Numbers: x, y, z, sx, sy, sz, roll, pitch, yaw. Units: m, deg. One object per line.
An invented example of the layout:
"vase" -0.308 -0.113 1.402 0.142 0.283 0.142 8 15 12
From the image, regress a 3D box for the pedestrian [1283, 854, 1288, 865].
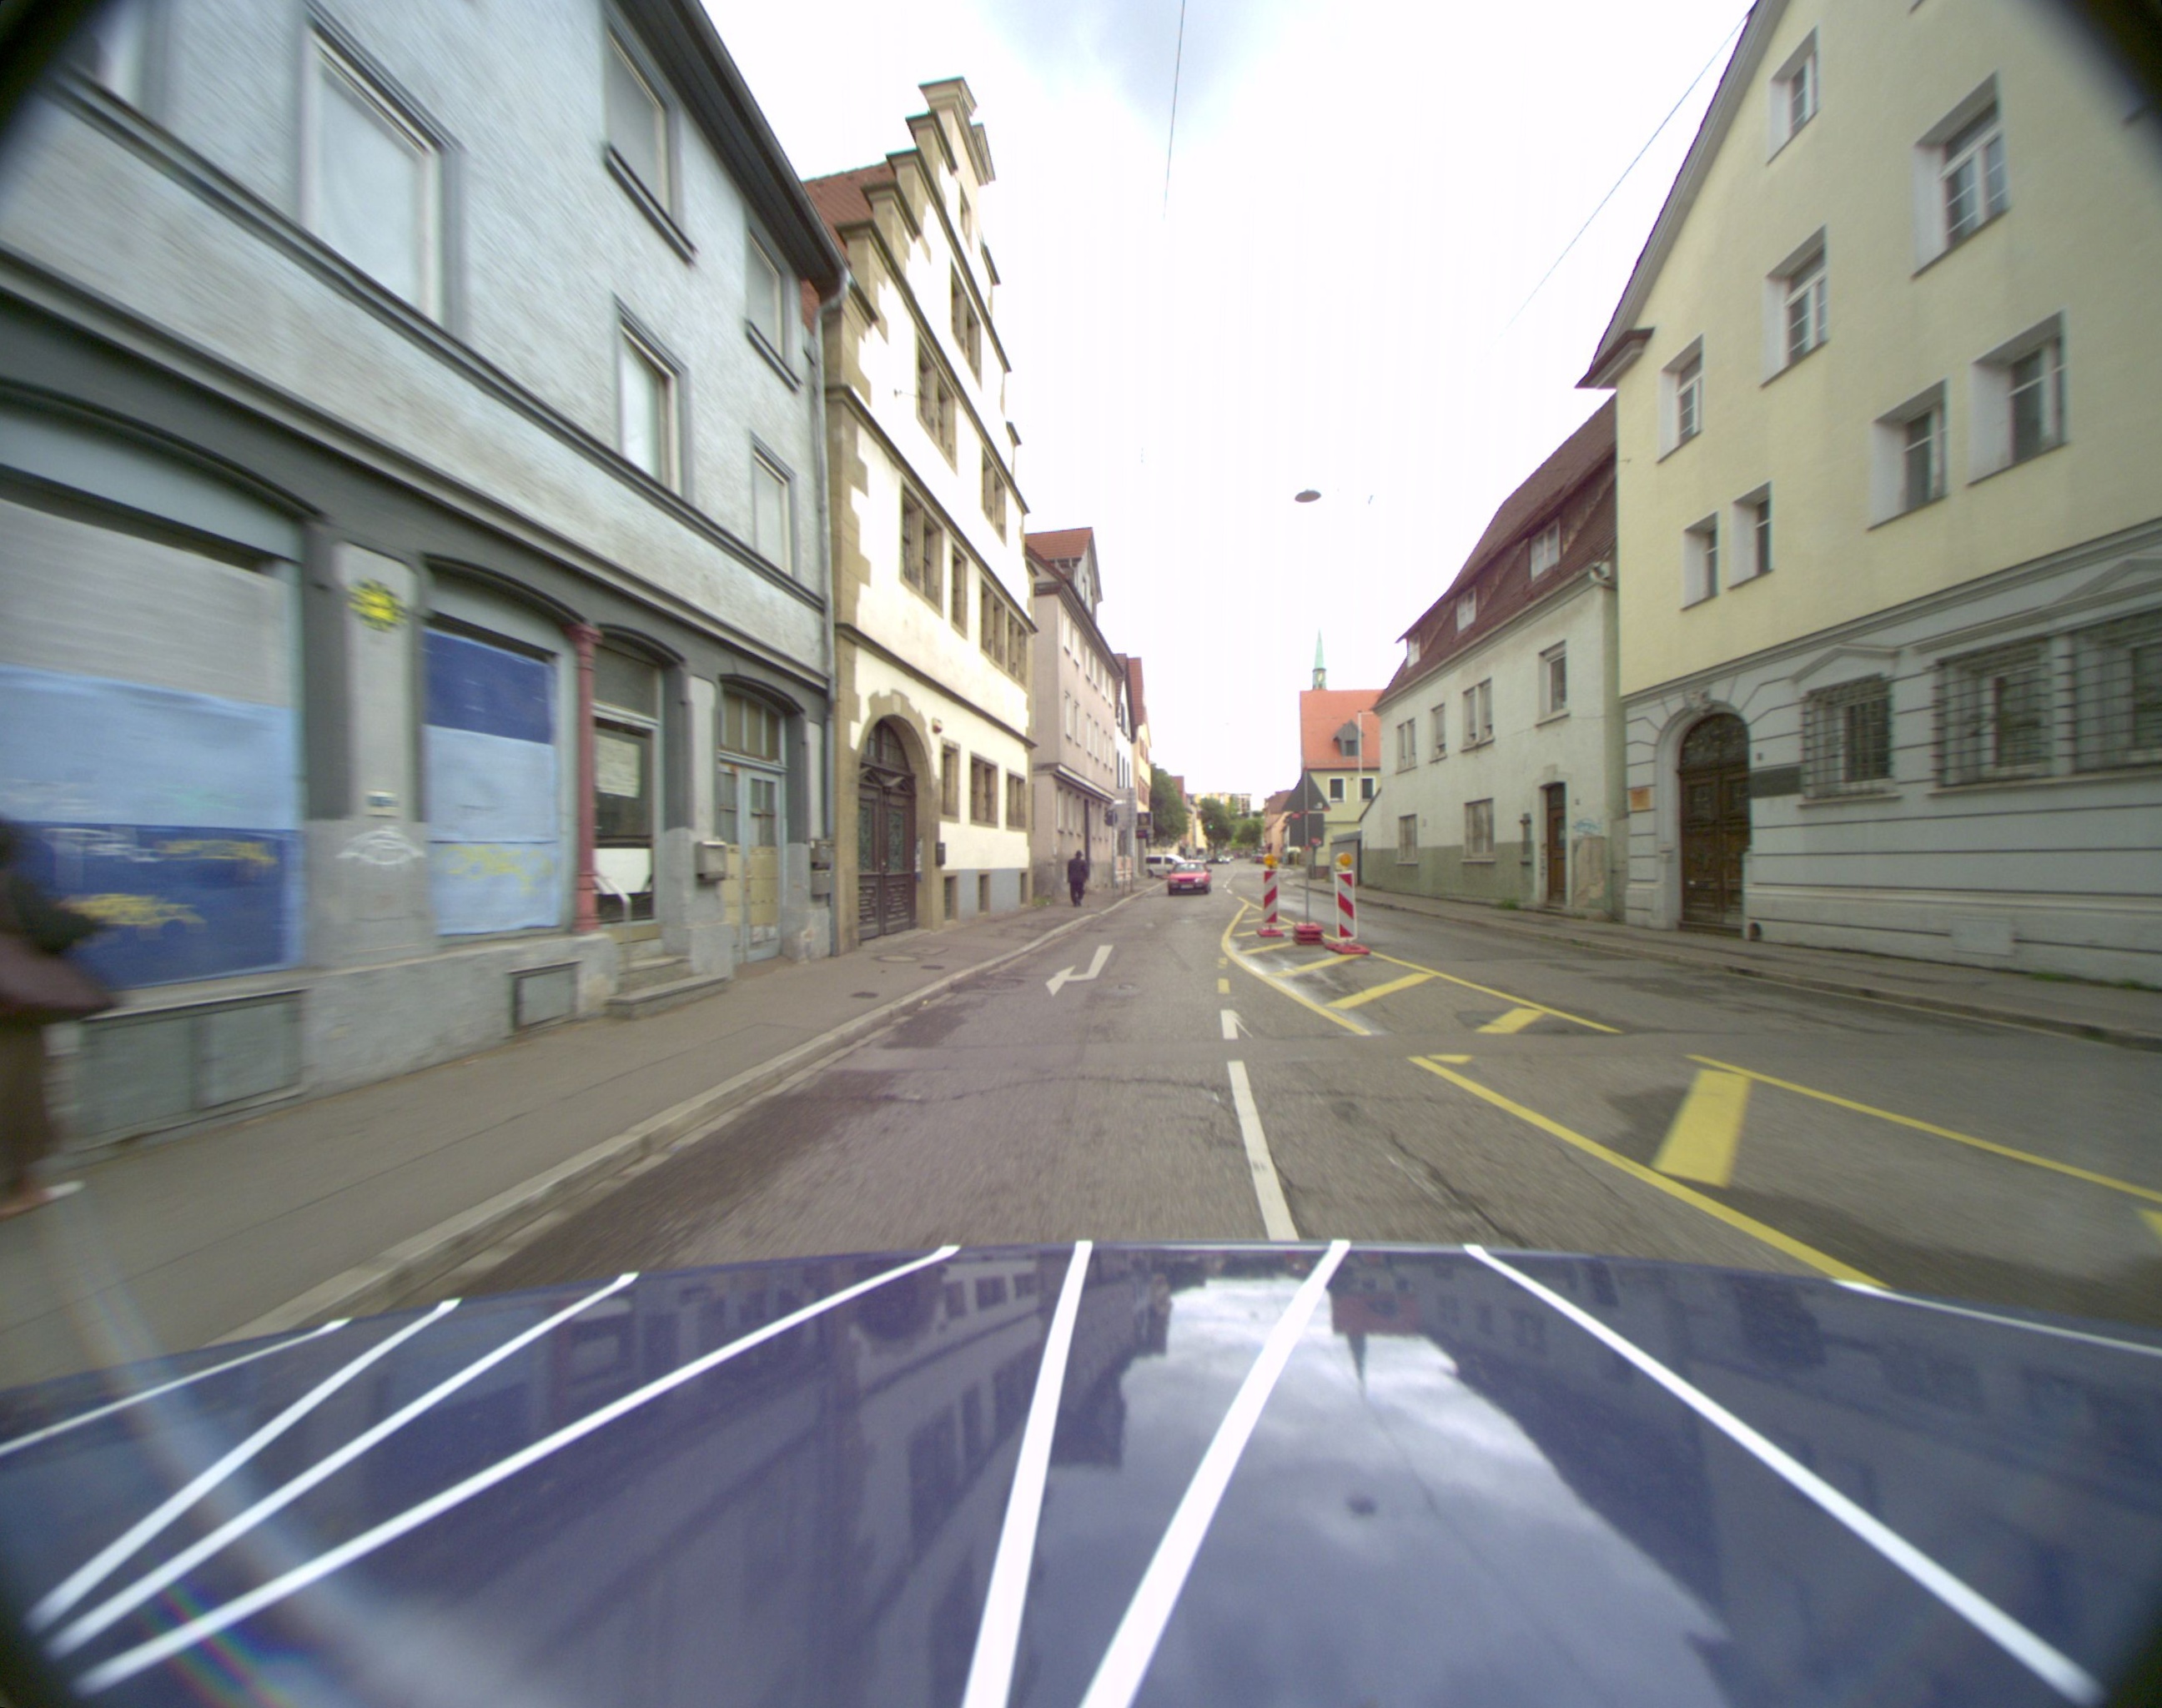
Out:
"pedestrian" 29.052 0.760 107.860 0.637 1.597 0.712 0 1 11

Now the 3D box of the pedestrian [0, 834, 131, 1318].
"pedestrian" -4.078 0.754 2.539 0.756 1.657 0.809 2 0 8

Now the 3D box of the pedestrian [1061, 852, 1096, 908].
"pedestrian" -0.075 0.766 23.174 0.833 1.646 0.945 3 1 11

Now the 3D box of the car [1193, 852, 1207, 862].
"car" 19.123 0.440 121.800 2.031 1.546 4.003 0 1 10

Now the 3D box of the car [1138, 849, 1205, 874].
"car" 6.687 0.540 56.132 4.454 1.777 2.004 0 1 32

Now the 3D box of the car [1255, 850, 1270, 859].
"car" 32.480 0.097 135.975 2.211 1.668 4.501 0 1 10

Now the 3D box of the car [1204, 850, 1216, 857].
"car" 24.266 -0.070 142.874 1.820 1.380 4.004 0 1 13

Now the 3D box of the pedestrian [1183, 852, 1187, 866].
"pedestrian" 15.502 0.701 113.321 0.660 2.103 0.646 1 0 9

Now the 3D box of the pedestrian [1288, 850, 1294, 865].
"pedestrian" 29.663 0.539 107.526 0.758 2.109 0.784 1 0 11

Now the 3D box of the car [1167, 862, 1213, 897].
"car" 4.728 1.046 32.577 1.684 1.418 4.026 0 -1 12

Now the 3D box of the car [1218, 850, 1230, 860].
"car" 24.823 0.184 131.517 1.997 1.668 4.003 -1 1 11
